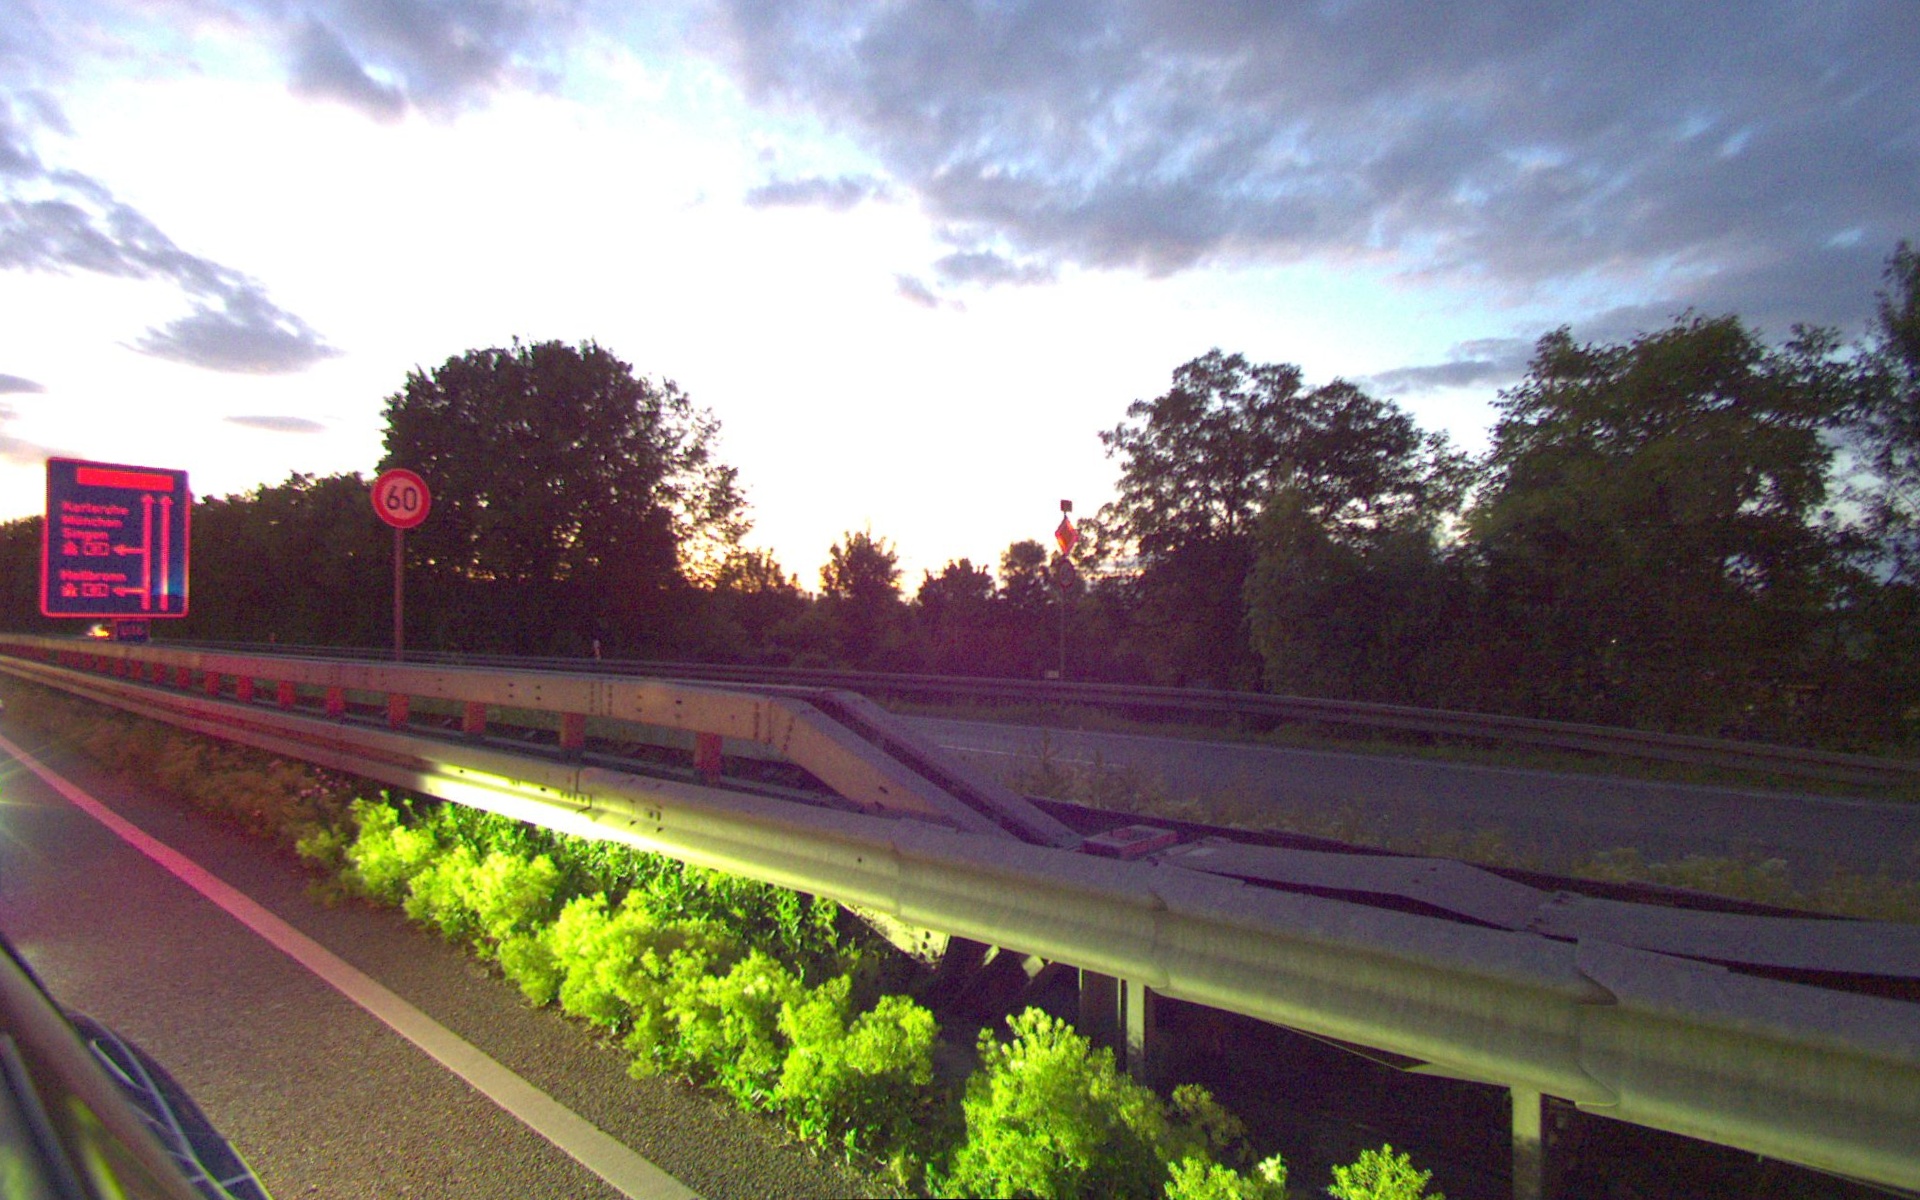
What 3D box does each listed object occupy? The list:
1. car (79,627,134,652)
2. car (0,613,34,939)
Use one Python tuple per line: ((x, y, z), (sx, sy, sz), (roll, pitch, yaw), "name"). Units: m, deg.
((-53.620, 2.448, 63.544), (4.295, 1.530, 1.973), (-2, -2, 41), "car")
((-6.637, 0.848, 5.472), (4.511, 1.492, 1.877), (-1, -1, 40), "car")
